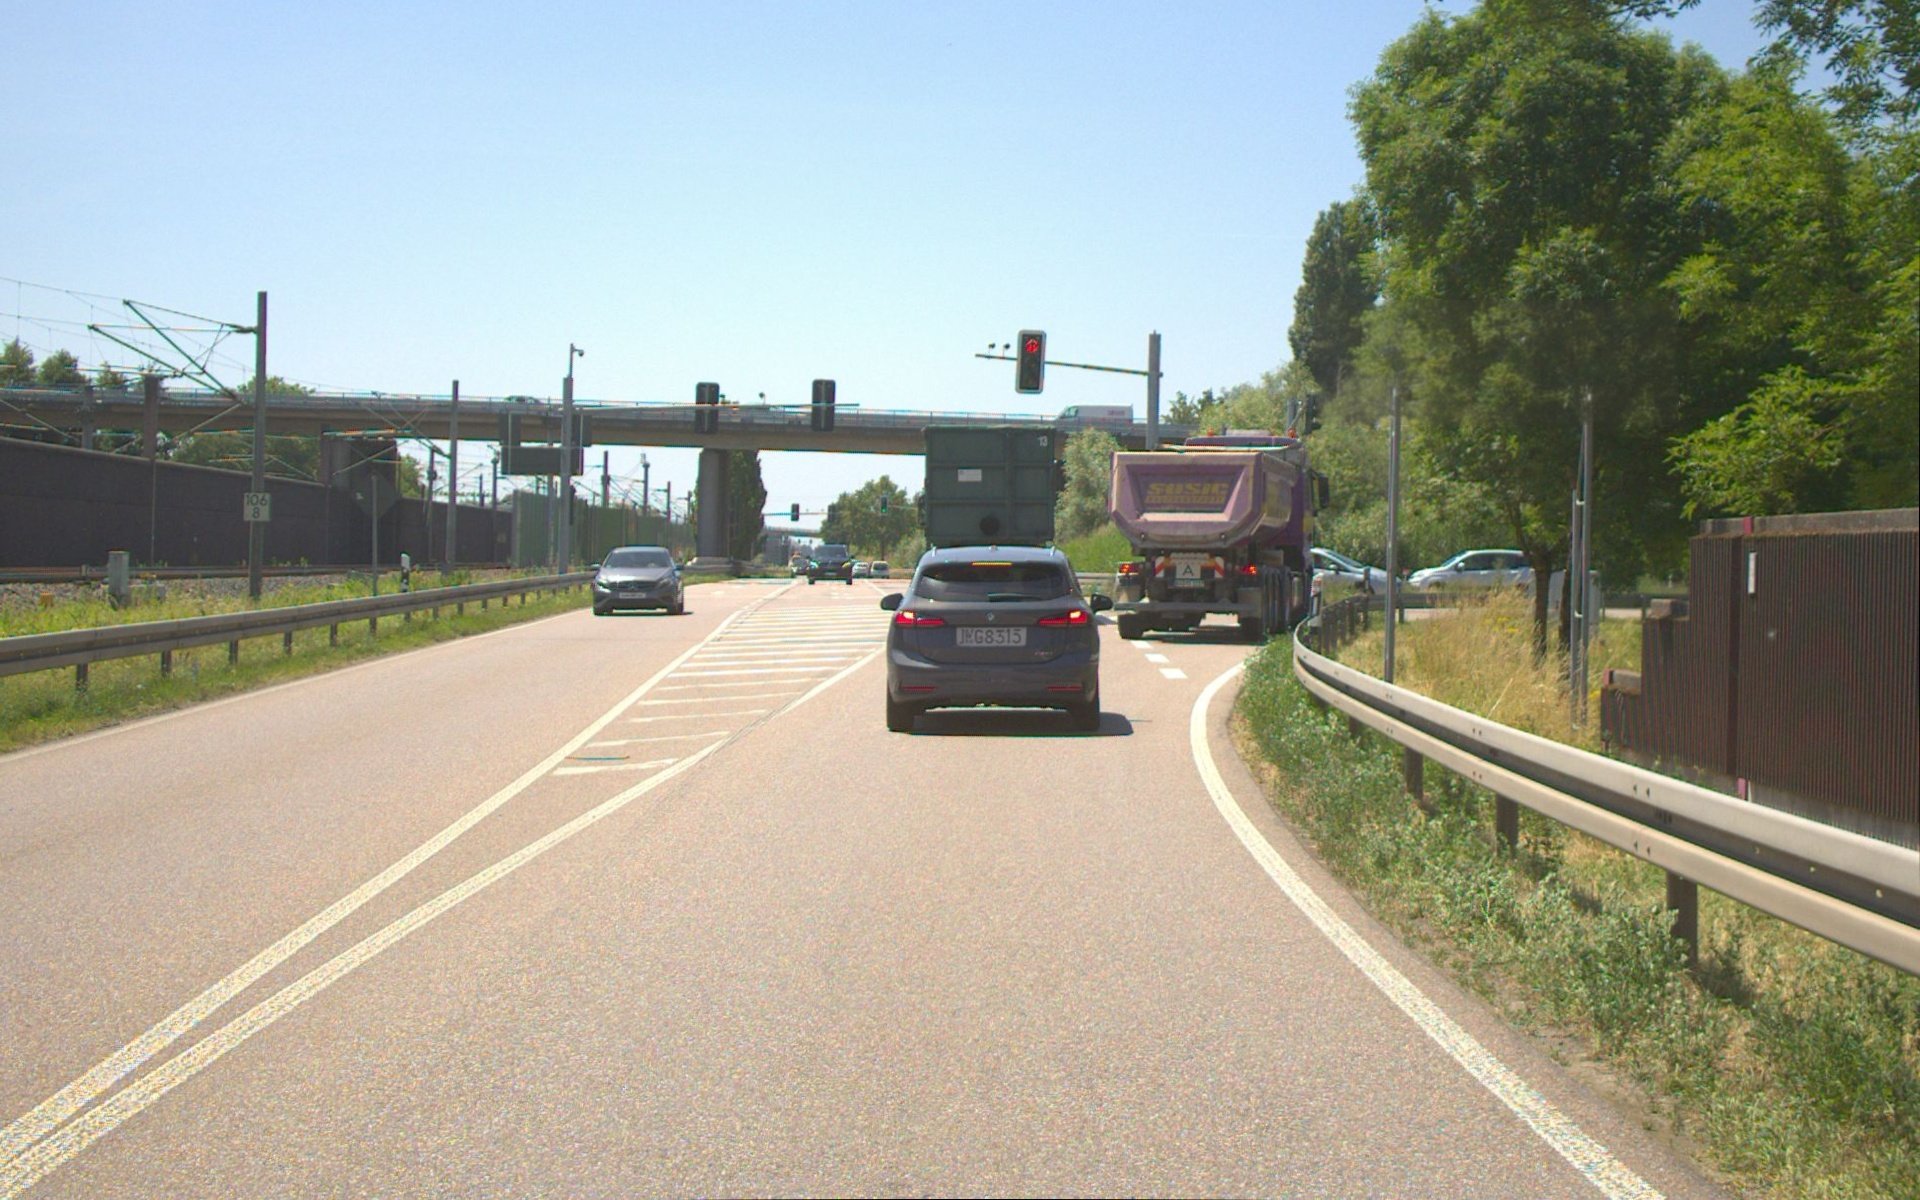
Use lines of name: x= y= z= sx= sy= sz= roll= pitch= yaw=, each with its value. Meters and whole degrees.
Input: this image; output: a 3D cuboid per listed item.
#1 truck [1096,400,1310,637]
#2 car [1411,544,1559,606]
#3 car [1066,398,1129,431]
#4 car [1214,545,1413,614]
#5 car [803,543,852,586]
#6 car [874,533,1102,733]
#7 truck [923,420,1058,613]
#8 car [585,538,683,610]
truck: x=4.527 y=-1.401 z=61.608 sx=2.834 sy=3.808 sz=11.881 roll=1 pitch=1 yaw=9
car: x=14.206 y=-0.675 z=93.208 sx=3.706 sy=1.626 sz=1.734 roll=1 pitch=1 yaw=-1
car: x=8.965 y=-12.142 z=224.786 sx=3.987 sy=2.007 sz=2.000 roll=1 pitch=1 yaw=-1
car: x=8.756 y=-0.518 z=85.078 sx=4.651 sy=1.626 sz=1.932 roll=1 pitch=1 yaw=14
car: x=-5.821 y=-1.588 z=151.382 sx=1.927 sy=1.761 sz=4.598 roll=2 pitch=1 yaw=0
car: x=0.221 y=0.241 z=30.243 sx=1.844 sy=1.617 sz=4.226 roll=1 pitch=1 yaw=0
truck: x=0.575 y=-1.727 z=71.566 sx=2.589 sy=3.724 sz=9.575 roll=1 pitch=1 yaw=0
car: x=-7.006 y=-0.577 z=74.284 sx=1.864 sy=1.480 sz=4.888 roll=1 pitch=1 yaw=-3
